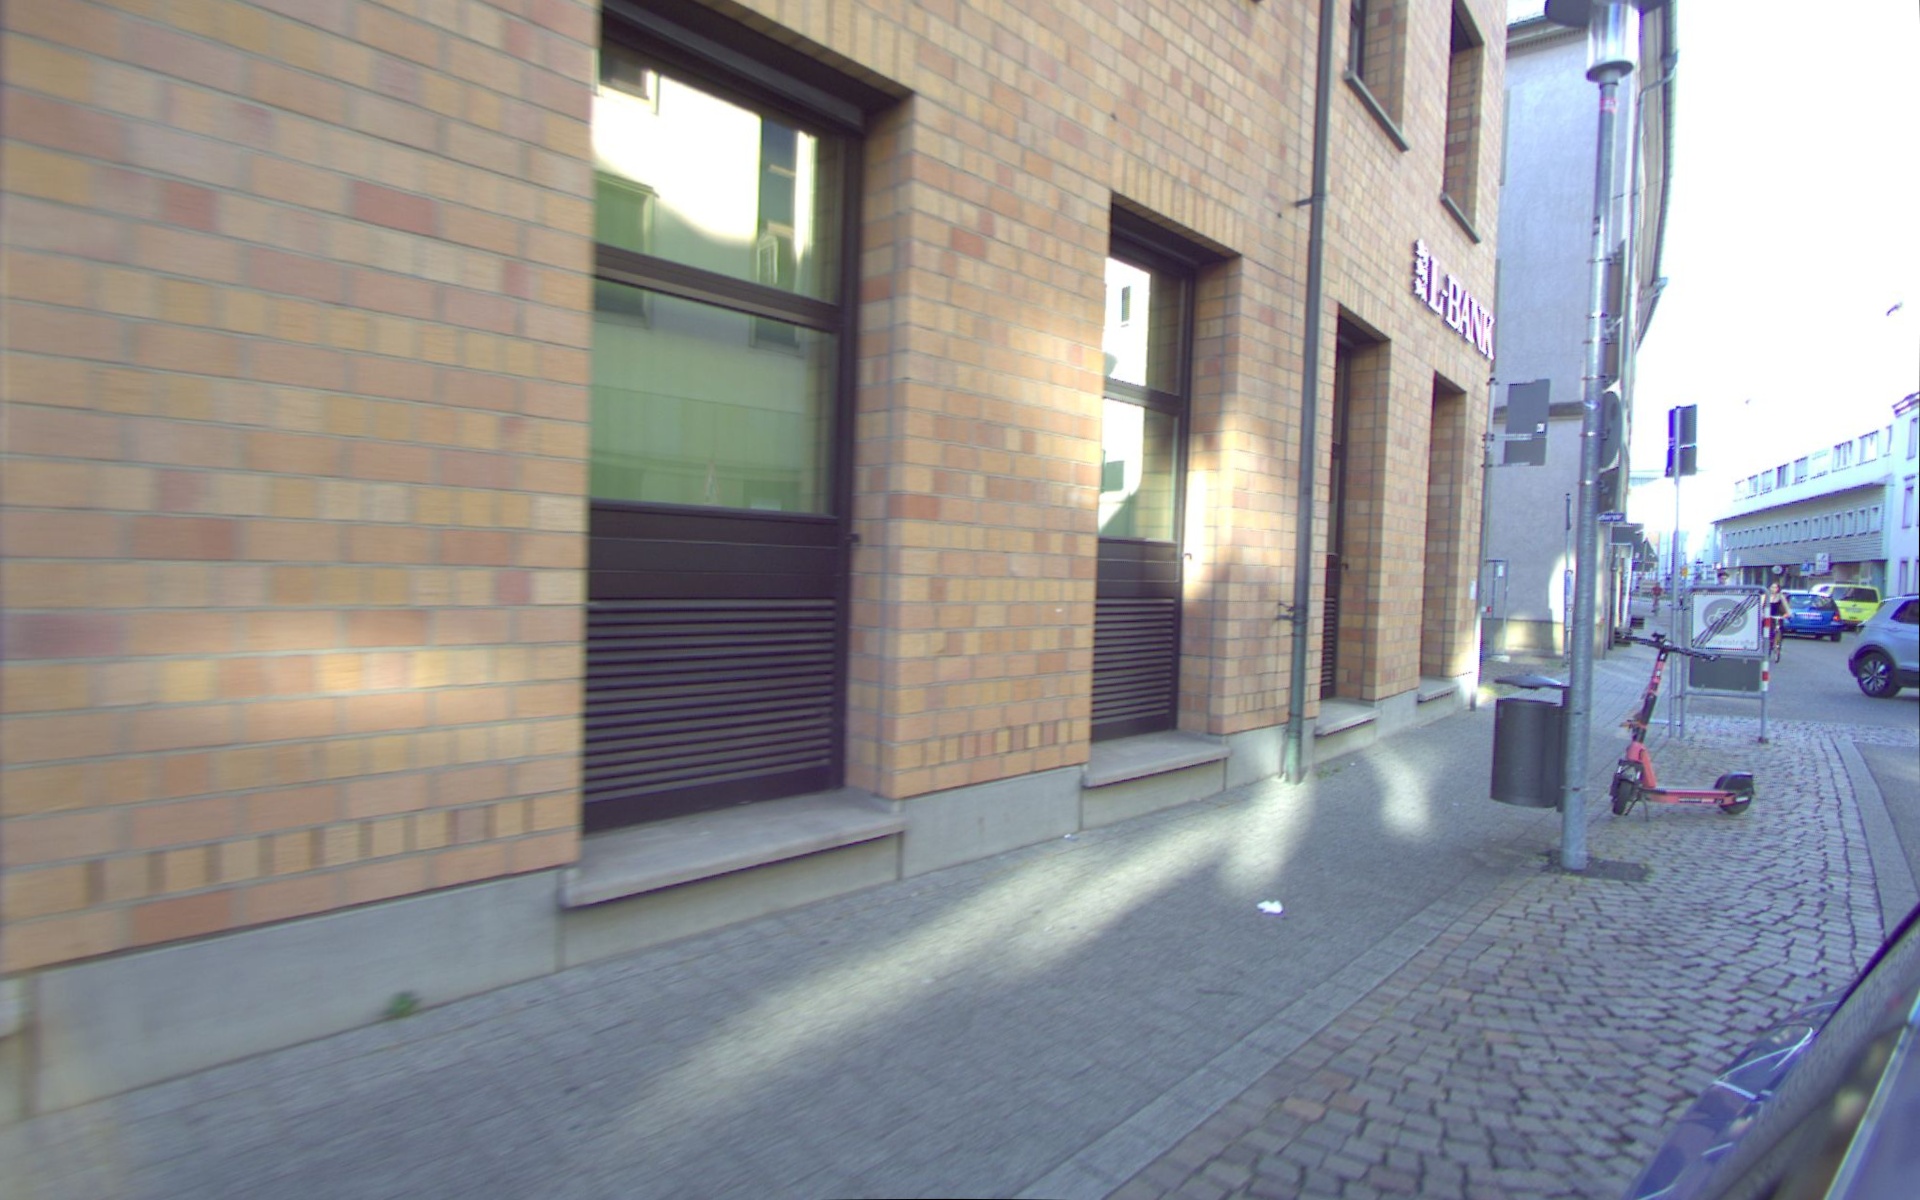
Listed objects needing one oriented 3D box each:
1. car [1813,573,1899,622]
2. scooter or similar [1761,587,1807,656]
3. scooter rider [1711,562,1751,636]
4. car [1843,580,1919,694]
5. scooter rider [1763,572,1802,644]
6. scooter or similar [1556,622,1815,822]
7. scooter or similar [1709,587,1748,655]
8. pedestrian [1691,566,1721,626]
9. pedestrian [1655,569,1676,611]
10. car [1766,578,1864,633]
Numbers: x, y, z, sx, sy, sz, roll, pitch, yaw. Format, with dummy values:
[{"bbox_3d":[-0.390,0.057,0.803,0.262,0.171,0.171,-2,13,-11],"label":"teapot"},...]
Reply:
[{"bbox_3d":[36.936,-0.146,41.806,1.874,1.897,3.958,1,2,30],"label":"car"},{"bbox_3d":[17.895,0.442,21.998,0.547,1.413,1.537,3,3,33],"label":"scooter or similar"},{"bbox_3d":[17.082,-0.035,22.428,0.643,1.613,0.593,1,1,34],"label":"scooter rider"},{"bbox_3d":[14.188,0.583,13.298,1.732,1.565,3.998,2,2,3],"label":"car"},{"bbox_3d":[17.939,0.164,22.083,0.588,1.527,0.593,1,1,34],"label":"scooter rider"},{"bbox_3d":[4.859,0.798,6.811,1.390,1.251,0.539,1,1,-8],"label":"scooter or similar"},{"bbox_3d":[16.907,0.428,22.290,0.520,1.413,1.537,3,3,33],"label":"scooter or similar"},{"bbox_3d":[26.221,-0.145,35.597,0.711,2.038,0.691,3,2,33],"label":"pedestrian"},{"bbox_3d":[35.051,-0.513,50.288,0.711,2.038,0.691,3,2,33],"label":"pedestrian"},{"bbox_3d":[27.790,0.173,33.015,1.844,1.612,3.762,4,2,32],"label":"car"}]
